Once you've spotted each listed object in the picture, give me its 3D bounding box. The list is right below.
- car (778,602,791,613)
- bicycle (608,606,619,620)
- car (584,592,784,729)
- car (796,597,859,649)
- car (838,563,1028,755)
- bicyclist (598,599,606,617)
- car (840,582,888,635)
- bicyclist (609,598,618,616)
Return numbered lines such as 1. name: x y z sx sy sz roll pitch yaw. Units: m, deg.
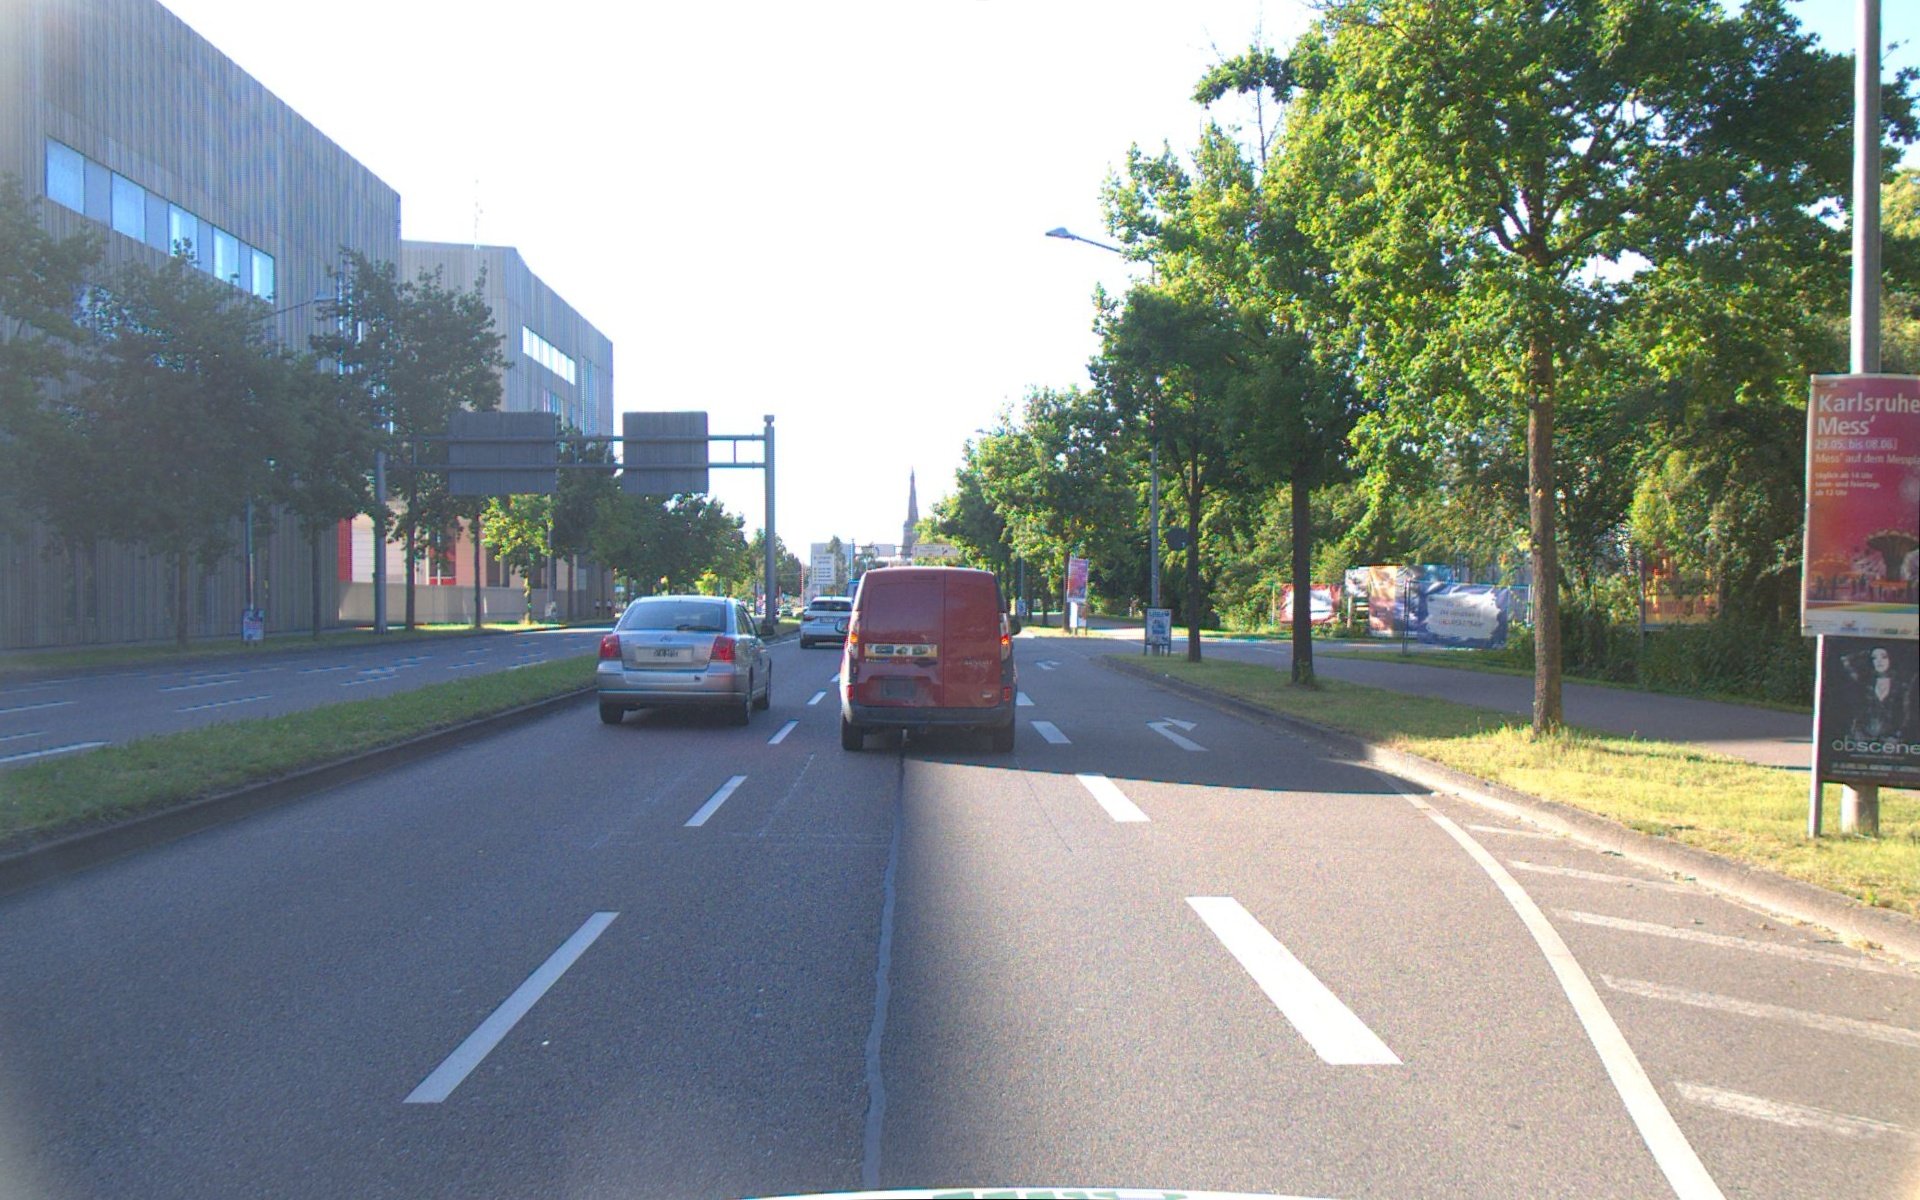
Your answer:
1. car: -22.476 0.970 211.931 1.417 1.461 3.457 0 0 -3
2. bicycle: -27.080 1.016 129.318 0.558 1.021 2.095 -1 -1 -3
3. car: -3.235 0.659 20.149 1.804 1.482 4.161 1 0 -1
4. car: -3.742 0.627 47.249 1.628 1.422 3.557 0 0 -2
5. car: -0.322 0.553 17.600 1.770 1.790 4.004 1 0 -2
6. bicyclist: -28.087 0.598 129.594 0.472 1.419 0.844 -1 -1 -3
7. car: -3.503 0.297 60.806 1.628 1.889 3.557 0 0 -2
8. bicyclist: -27.083 0.568 129.314 0.551 1.417 0.747 -1 -1 -3
